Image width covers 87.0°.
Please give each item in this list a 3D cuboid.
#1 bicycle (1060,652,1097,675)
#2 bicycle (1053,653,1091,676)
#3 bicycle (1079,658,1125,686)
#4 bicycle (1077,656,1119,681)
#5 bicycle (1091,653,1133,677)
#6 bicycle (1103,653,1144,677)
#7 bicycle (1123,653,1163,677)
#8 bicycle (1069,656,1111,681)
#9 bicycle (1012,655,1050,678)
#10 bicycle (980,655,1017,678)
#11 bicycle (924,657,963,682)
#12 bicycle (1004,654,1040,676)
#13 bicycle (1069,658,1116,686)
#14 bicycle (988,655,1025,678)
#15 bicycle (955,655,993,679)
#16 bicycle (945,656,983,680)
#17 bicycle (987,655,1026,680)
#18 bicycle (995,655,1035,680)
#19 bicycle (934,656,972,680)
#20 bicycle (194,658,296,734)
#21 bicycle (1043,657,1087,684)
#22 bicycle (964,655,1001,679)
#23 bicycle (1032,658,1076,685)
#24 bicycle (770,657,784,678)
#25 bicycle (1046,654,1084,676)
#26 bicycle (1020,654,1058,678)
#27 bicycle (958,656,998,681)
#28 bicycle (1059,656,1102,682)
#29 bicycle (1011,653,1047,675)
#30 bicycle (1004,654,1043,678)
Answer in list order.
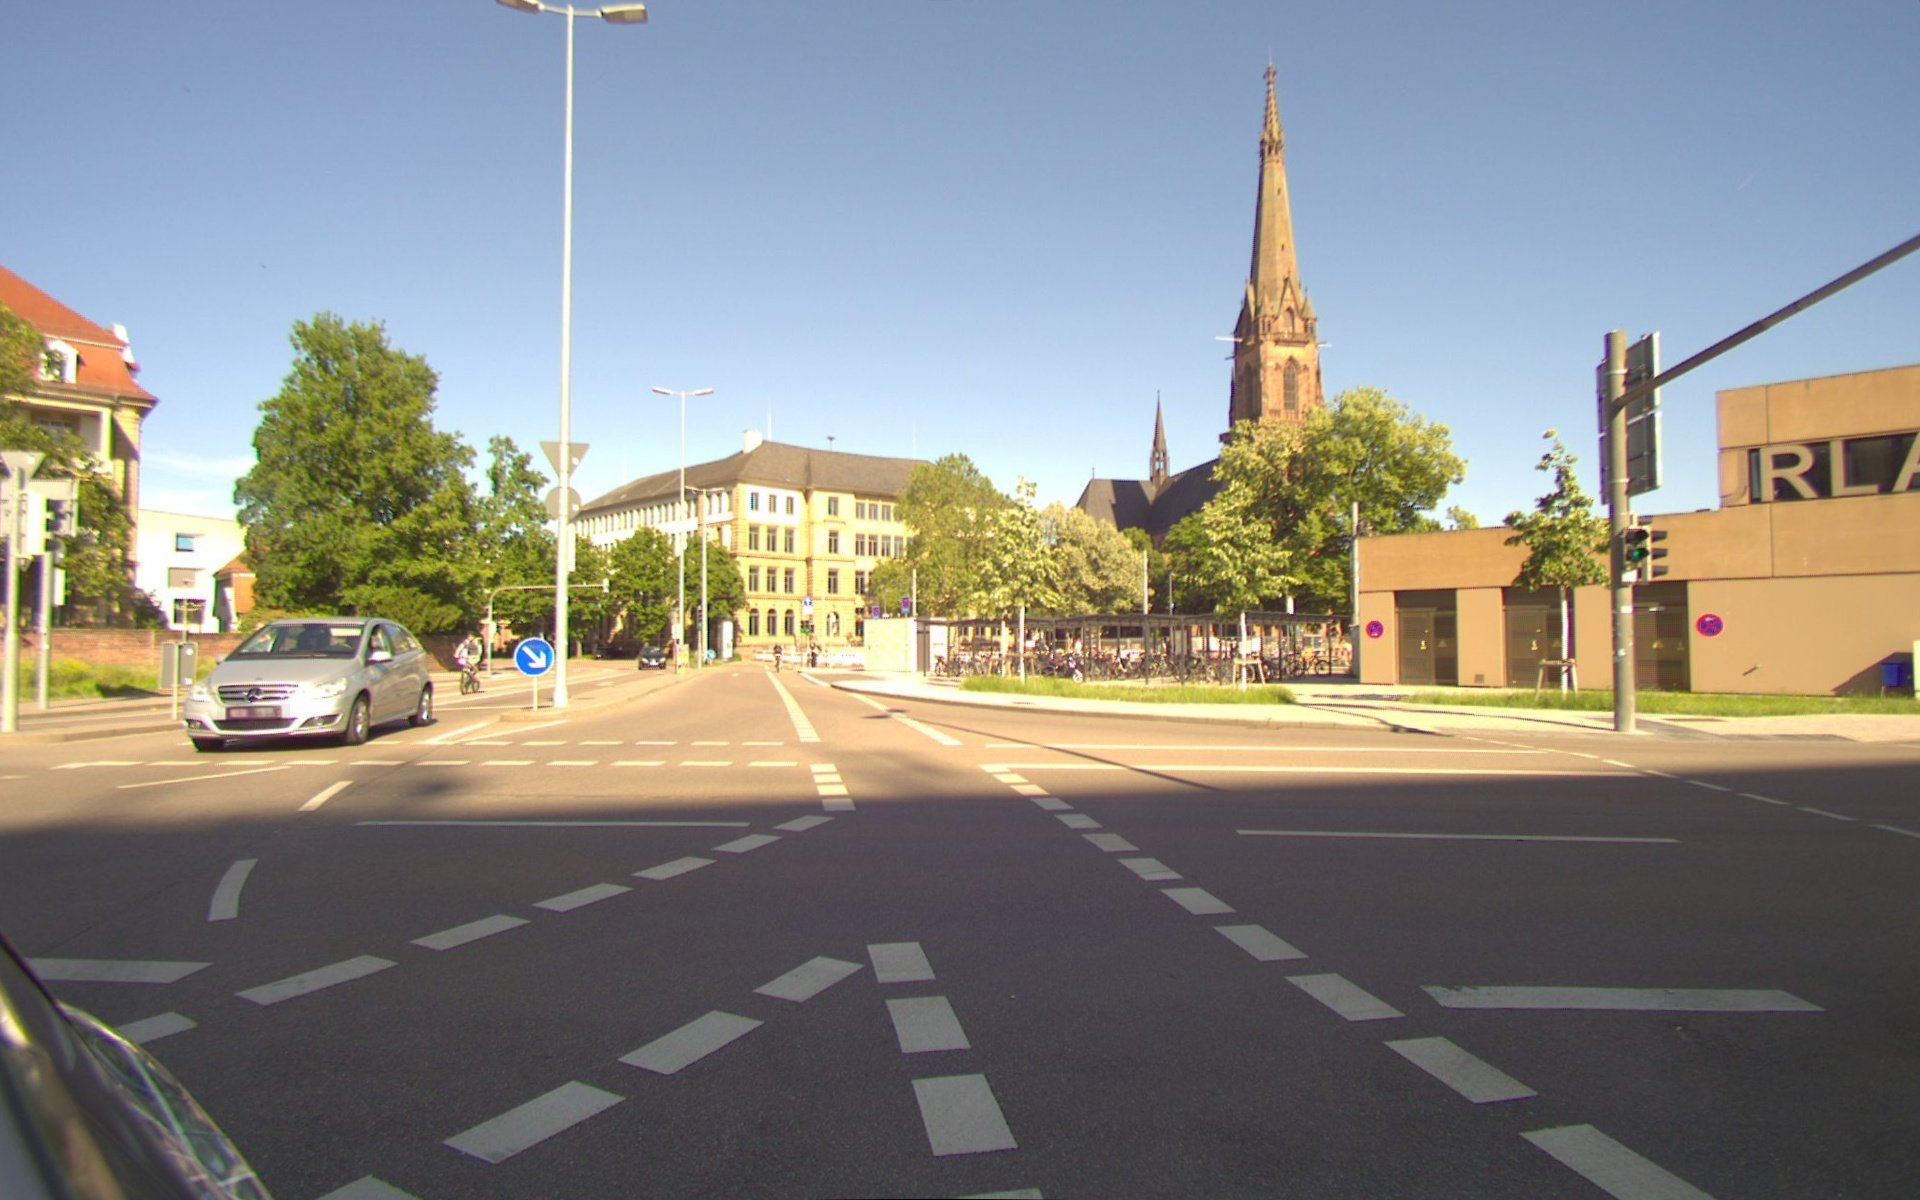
[{"bbox_3d":[5.717,3.061,48.816,1.787,1.046,0.560,-2,-4,42],"label":"bicycle"},{"bbox_3d":[5.340,3.060,48.318,1.787,1.046,0.560,-2,-4,42],"label":"bicycle"},{"bbox_3d":[5.573,2.835,39.773,1.787,1.046,0.560,-2,-4,42],"label":"bicycle"},{"bbox_3d":[5.923,2.933,43.517,1.787,1.046,0.560,-2,-4,42],"label":"bicycle"},{"bbox_3d":[6.668,2.852,44.438,1.787,1.046,0.560,-2,-4,42],"label":"bicycle"},{"bbox_3d":[7.269,2.890,45.056,1.787,1.046,0.560,-2,-4,42],"label":"bicycle"},{"bbox_3d":[8.336,2.955,46.085,1.787,1.046,0.560,-2,-4,42],"label":"bicycle"},{"bbox_3d":[5.519,2.907,43.063,1.787,1.046,0.560,-2,-4,42],"label":"bicycle"},{"bbox_3d":[3.220,3.016,45.975,1.787,1.046,0.560,-2,-4,42],"label":"bicycle"},{"bbox_3d":[1.798,3.129,47.586,1.787,1.046,0.560,-2,-4,42],"label":"bicycle"},{"bbox_3d":[-0.729,3.050,44.602,1.787,1.046,0.560,-2,-4,42],"label":"bicycle"},{"bbox_3d":[2.987,3.150,48.992,1.787,1.046,0.560,-2,-4,42],"label":"bicycle"},{"bbox_3d":[5.137,2.790,39.285,1.787,1.046,0.560,-2,-4,42],"label":"bicycle"},{"bbox_3d":[2.218,3.145,48.092,1.787,1.046,0.560,-2,-4,42],"label":"bicycle"},{"bbox_3d":[0.627,3.056,46.167,1.787,1.046,0.560,-2,-4,42],"label":"bicycle"},{"bbox_3d":[0.180,3.042,45.654,1.787,1.046,0.560,-2,-4,42],"label":"bicycle"},{"bbox_3d":[2.042,2.974,44.622,1.787,1.046,0.560,-2,-4,42],"label":"bicycle"},{"bbox_3d":[2.444,2.993,45.059,1.787,1.046,0.560,-2,-4,42],"label":"bicycle"},{"bbox_3d":[-0.306,3.035,45.087,1.787,1.046,0.560,-2,-4,42],"label":"bicycle"},{"bbox_3d":[-11.859,1.560,16.862,0.632,1.174,1.972,-1,-3,-11],"label":"bicycle"},{"bbox_3d":[4.314,2.889,41.545,1.787,1.046,0.560,-2,-4,42],"label":"bicycle"},{"bbox_3d":[1.024,3.080,46.648,1.787,1.046,0.560,-2,-4,42],"label":"bicycle"},{"bbox_3d":[3.746,2.841,40.509,1.787,1.046,0.560,-2,-4,42],"label":"bicycle"},{"bbox_3d":[-10.444,3.828,57.673,0.736,1.174,1.874,1,-3,-11],"label":"bicycle"},{"bbox_3d":[4.941,3.066,47.844,1.787,1.046,0.560,-2,-4,42],"label":"bicycle"},{"bbox_3d":[3.630,3.028,46.456,1.787,1.046,0.560,-2,-4,42],"label":"bicycle"},{"bbox_3d":[0.762,2.929,43.242,1.787,1.046,0.560,-2,-4,42],"label":"bicycle"},{"bbox_3d":[5.070,2.896,42.571,1.787,1.046,0.560,-2,-4,42],"label":"bicycle"},{"bbox_3d":[3.382,3.140,49.426,1.787,1.046,0.560,-2,-4,42],"label":"bicycle"},{"bbox_3d":[2.831,2.978,45.528,1.787,1.046,0.560,-2,-4,42],"label":"bicycle"}]
